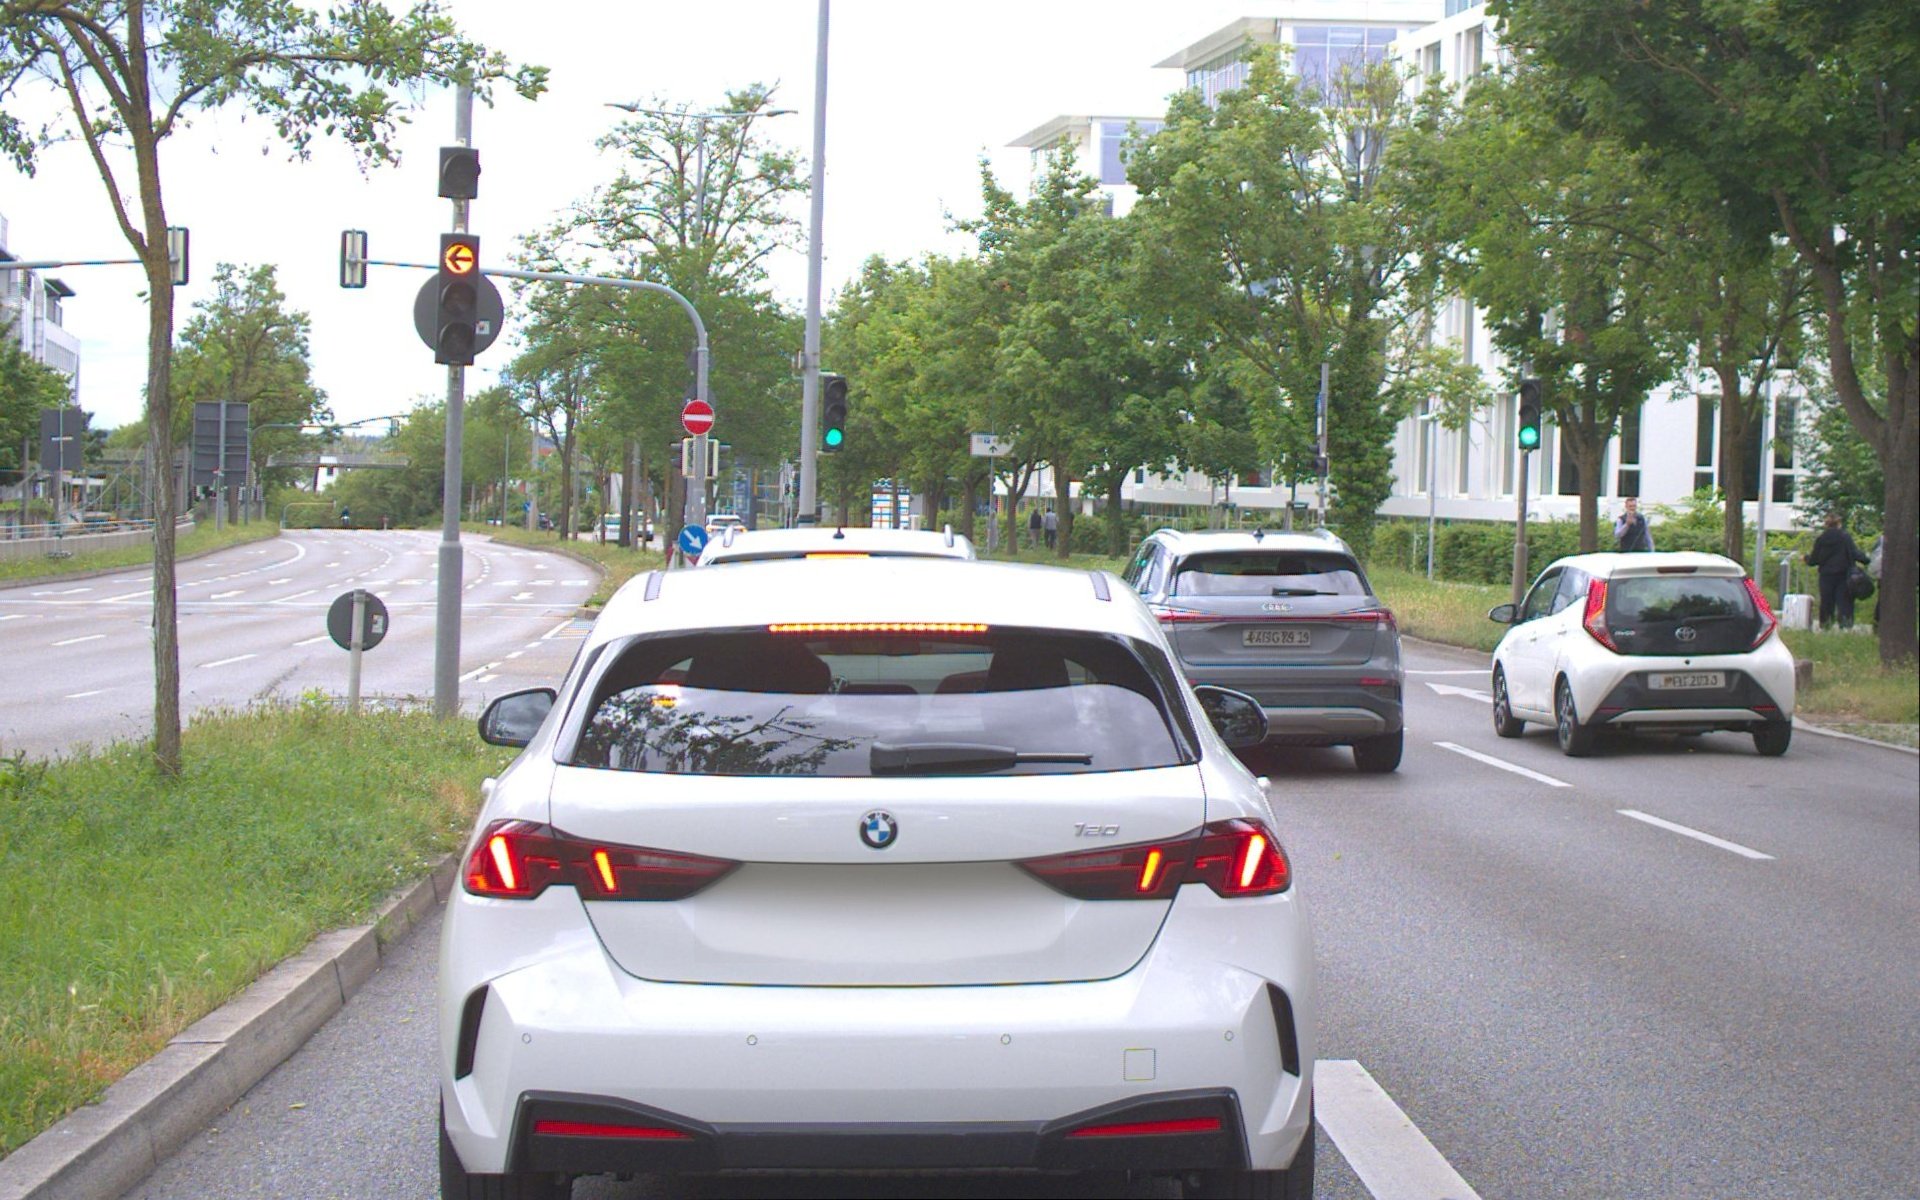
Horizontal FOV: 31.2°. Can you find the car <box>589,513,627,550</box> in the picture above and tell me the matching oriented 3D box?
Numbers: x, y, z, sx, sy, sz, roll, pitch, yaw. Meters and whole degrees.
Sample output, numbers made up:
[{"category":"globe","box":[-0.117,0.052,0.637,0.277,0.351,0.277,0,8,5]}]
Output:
[{"category":"car","box":[-16.807,-3.248,163.984,1.695,1.711,4.001,1,1,-7]}]

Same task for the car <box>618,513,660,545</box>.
[{"category":"car","box":[-17.852,-3.920,190.930,1.993,1.726,4.001,1,1,-10]}]

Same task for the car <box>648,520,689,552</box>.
[{"category":"car","box":[-14.122,-3.102,166.581,1.692,1.481,3.694,1,1,-9]}]

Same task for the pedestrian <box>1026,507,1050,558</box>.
[{"category":"pedestrian","box":[3.067,-2.652,135.084,0.762,2.007,0.754,1,0,-15]}]

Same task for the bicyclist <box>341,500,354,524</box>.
[{"category":"bicyclist","box":[-44.440,-6.379,249.329,0.810,1.647,1.189,1,0,-6]}]

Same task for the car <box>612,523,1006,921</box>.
[{"category":"car","box":[-0.631,0.452,15.810,1.549,1.563,4.000,1,1,-1]}]

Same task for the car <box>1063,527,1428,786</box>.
[{"category":"car","box":[1.860,0.312,23.765,1.891,1.590,4.314,1,1,-3]}]

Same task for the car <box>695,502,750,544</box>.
[{"category":"car","box":[-9.655,-3.121,139.545,1.993,1.664,4.001,-1,1,-8]}]

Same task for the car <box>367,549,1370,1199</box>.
[{"category":"car","box":[-0.194,0.622,8.340,1.822,1.433,4.000,1,1,-1]}]

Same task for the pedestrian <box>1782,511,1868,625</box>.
[{"category":"pedestrian","box":[11.198,-0.418,44.547,0.789,1.443,1.112,1,0,-1]}]

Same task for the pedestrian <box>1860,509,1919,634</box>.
[{"category":"pedestrian","box":[12.067,-0.369,44.254,0.699,1.590,0.883,1,0,-1]}]

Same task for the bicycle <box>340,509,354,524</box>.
[{"category":"bicycle","box":[-44.436,-6.044,249.269,0.810,1.100,2.557,1,1,-6]}]

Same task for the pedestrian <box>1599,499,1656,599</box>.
[{"category":"pedestrian","box":[10.607,-0.804,54.647,0.741,1.568,0.674,1,0,-1]}]

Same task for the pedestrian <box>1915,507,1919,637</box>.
[{"category":"pedestrian","box":[12.842,-0.359,44.306,0.767,1.679,0.883,1,0,-1]}]

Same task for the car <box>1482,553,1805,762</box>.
[{"category":"car","box":[5.003,0.374,25.582,1.653,1.420,3.535,0,1,-1]}]
